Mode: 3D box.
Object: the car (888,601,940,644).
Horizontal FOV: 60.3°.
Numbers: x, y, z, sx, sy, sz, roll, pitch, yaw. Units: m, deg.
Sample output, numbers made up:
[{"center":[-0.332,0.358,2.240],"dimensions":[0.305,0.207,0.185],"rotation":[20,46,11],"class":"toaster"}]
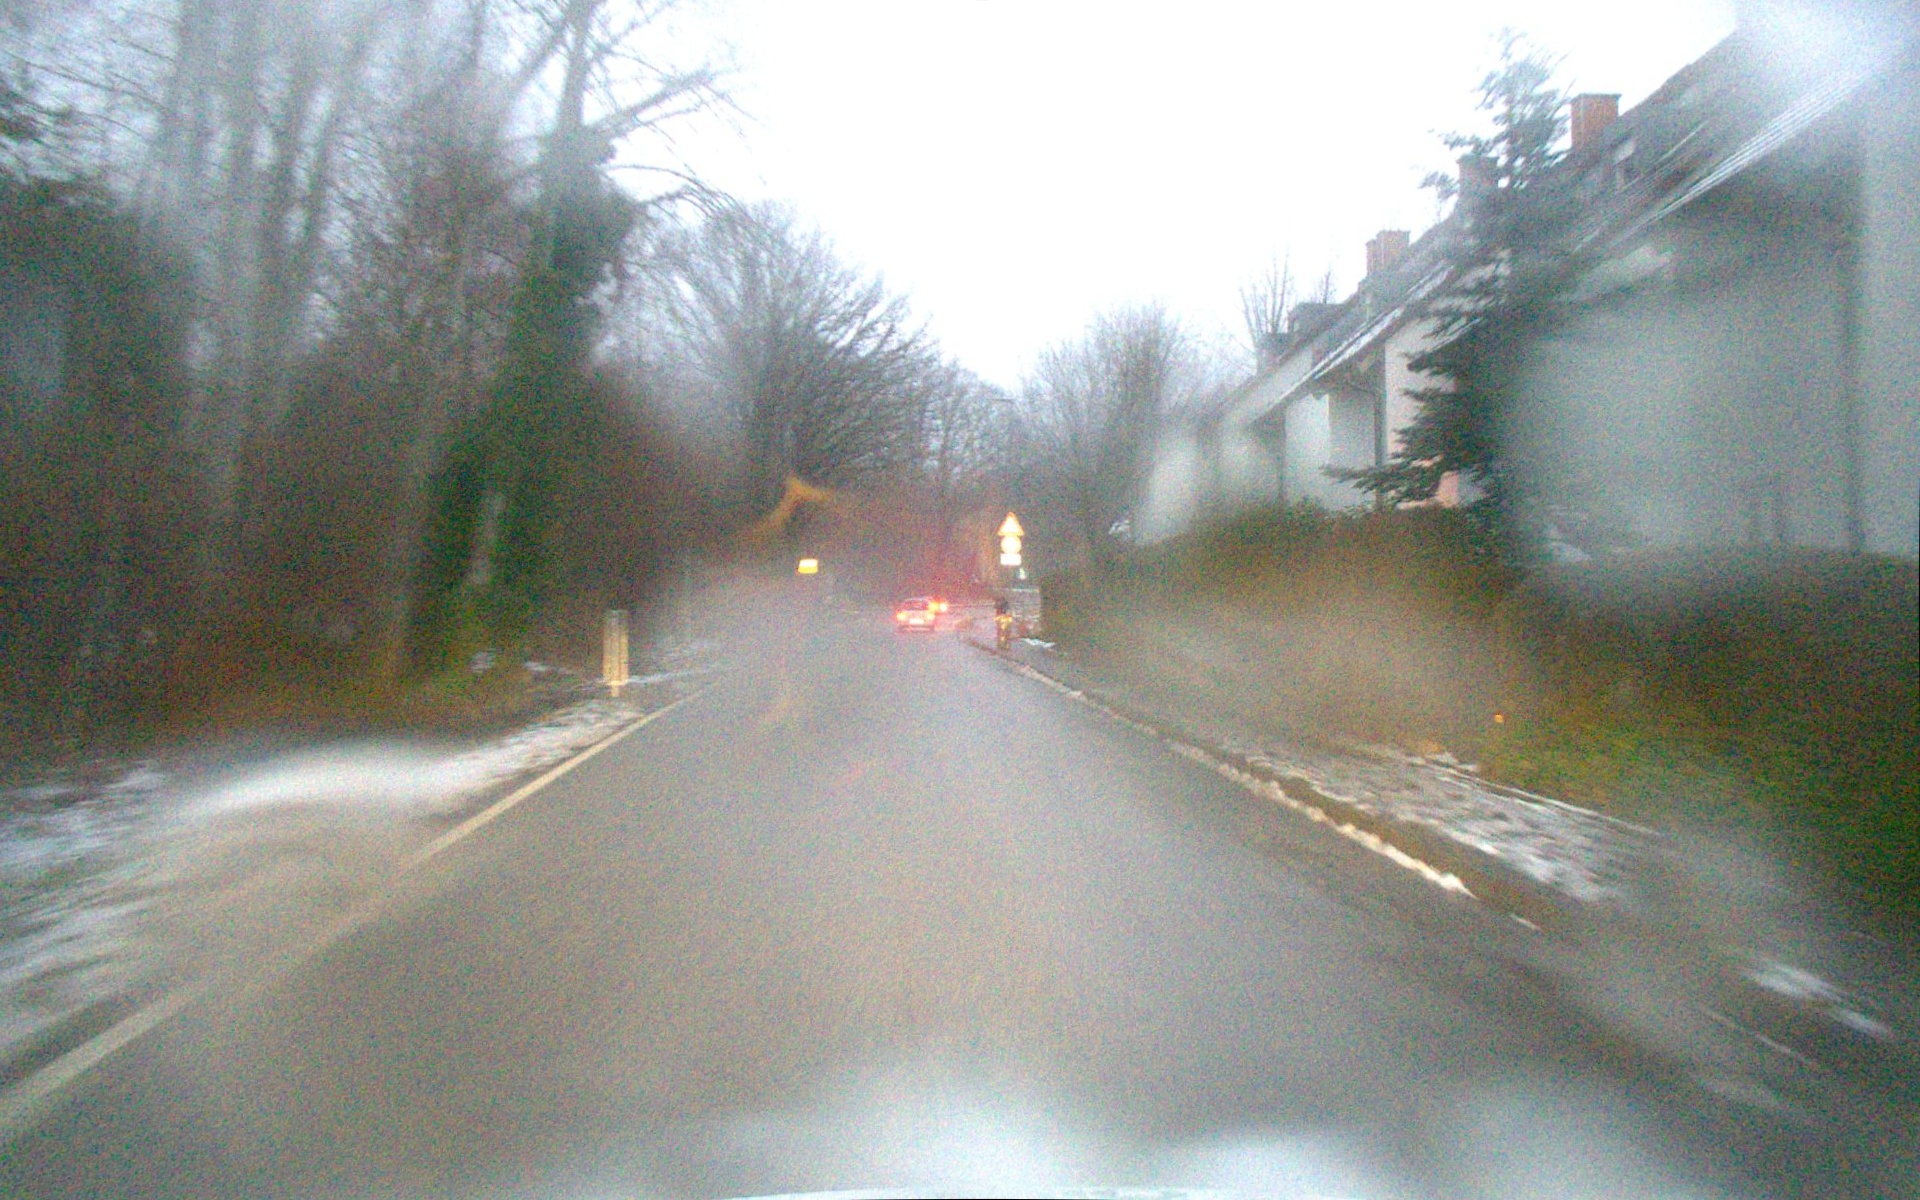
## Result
[{"center":[-1.969,0.954,72.332],"dimensions":[1.892,1.812,4.002],"rotation":[0,0,4],"class":"car"}]
